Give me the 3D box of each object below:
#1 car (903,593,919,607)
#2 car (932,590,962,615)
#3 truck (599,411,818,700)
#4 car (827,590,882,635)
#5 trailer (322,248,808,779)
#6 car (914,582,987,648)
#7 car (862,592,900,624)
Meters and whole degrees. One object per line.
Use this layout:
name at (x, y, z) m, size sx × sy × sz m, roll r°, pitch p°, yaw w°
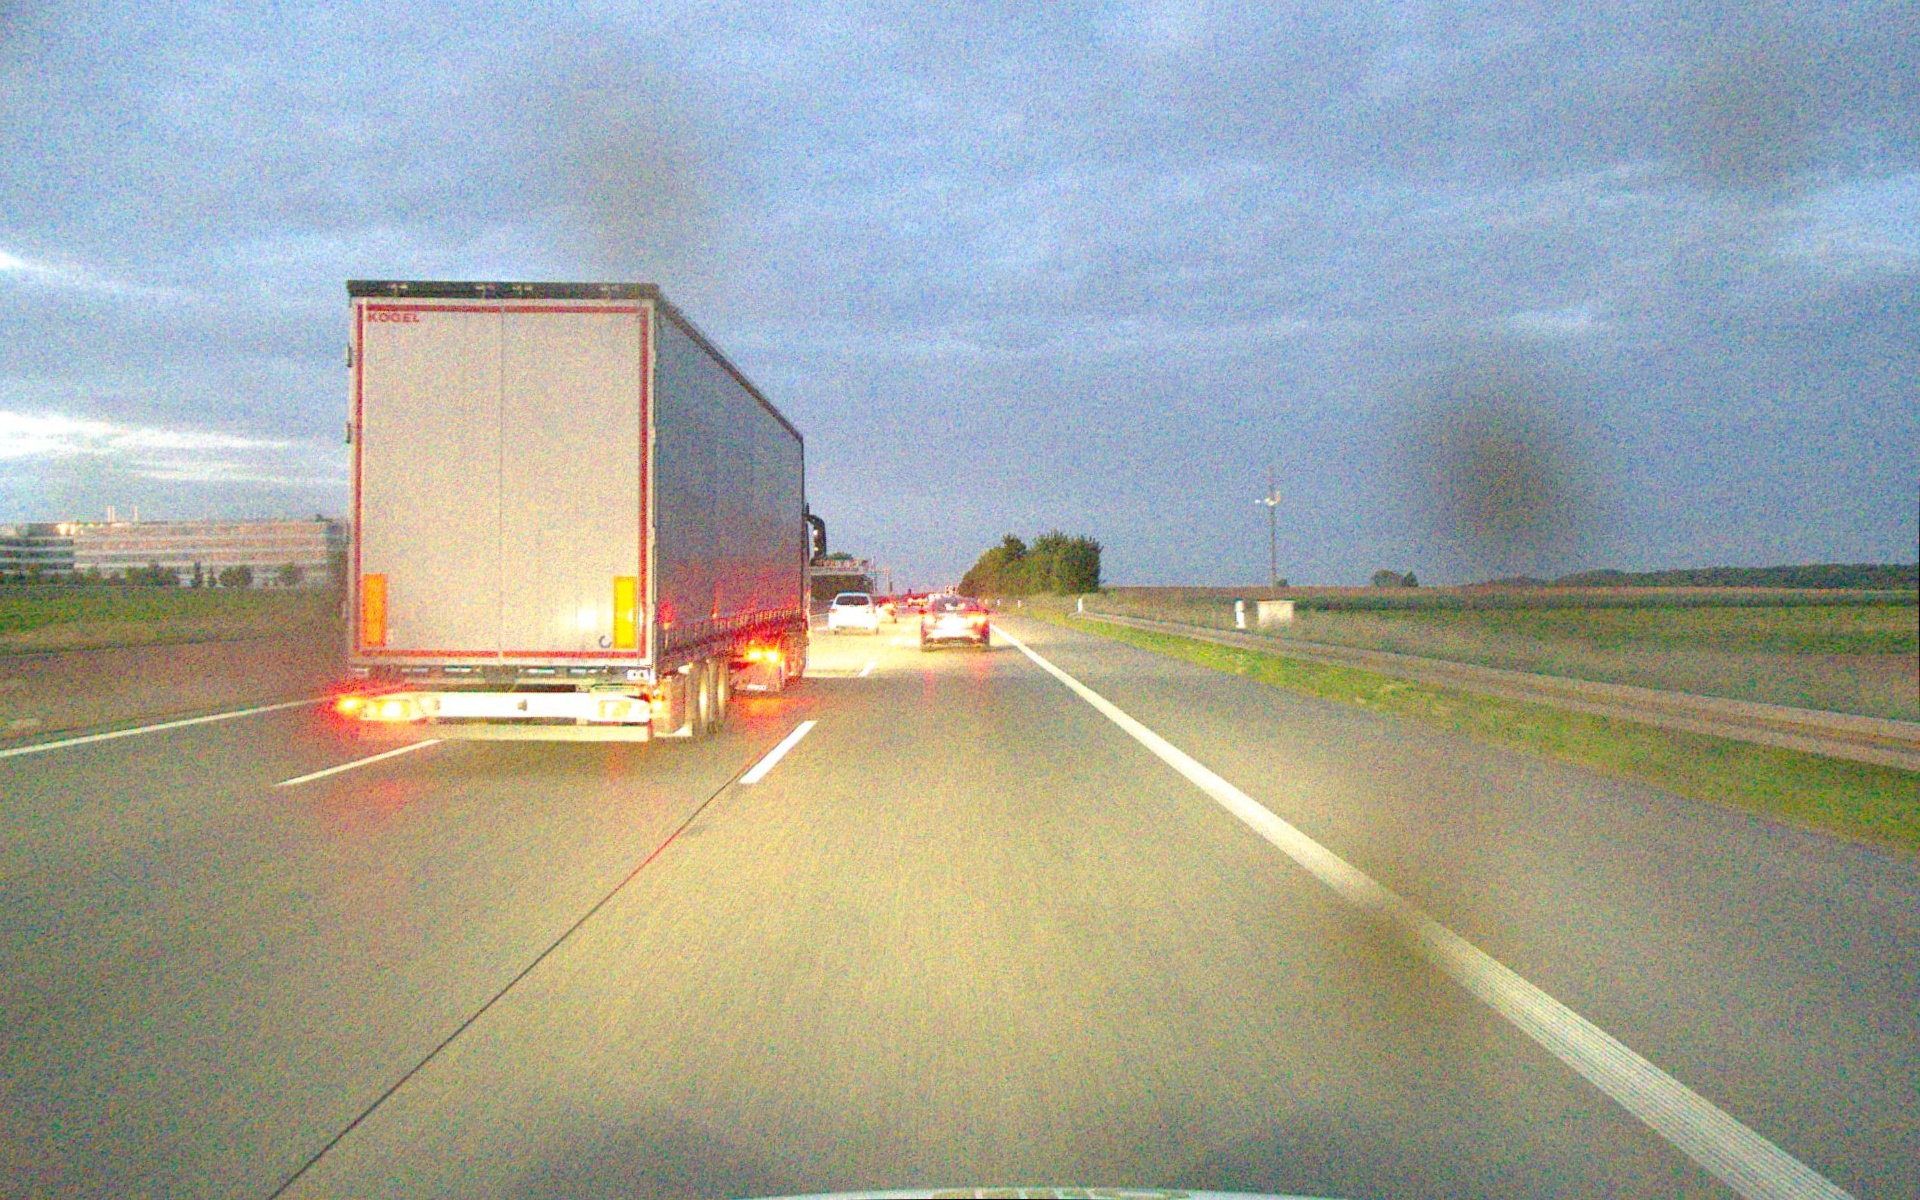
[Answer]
car at (-5.850, 0.031, 197.919) m, size 1.842 × 1.579 × 3.999 m, roll 1°, pitch 0°, yaw -1°
car at (-0.820, 0.165, 105.540) m, size 1.842 × 1.579 × 3.999 m, roll 1°, pitch 0°, yaw -1°
truck at (-3.902, -0.635, 27.003) m, size 2.721 × 4.164 × 6.101 m, roll 0°, pitch 0°, yaw -1°
car at (-3.806, 0.461, 60.501) m, size 1.708 × 1.551 × 4.414 m, roll 1°, pitch 0°, yaw 0°
trailer at (-3.770, -0.649, 20.273) m, size 2.737 × 4.157 × 14.521 m, roll 0°, pitch 0°, yaw -1°
car at (-0.259, 0.401, 44.459) m, size 1.842 × 1.672 × 3.999 m, roll 1°, pitch 0°, yaw -1°
car at (-3.895, 0.409, 82.066) m, size 1.688 × 1.497 × 4.725 m, roll 1°, pitch 0°, yaw -1°
